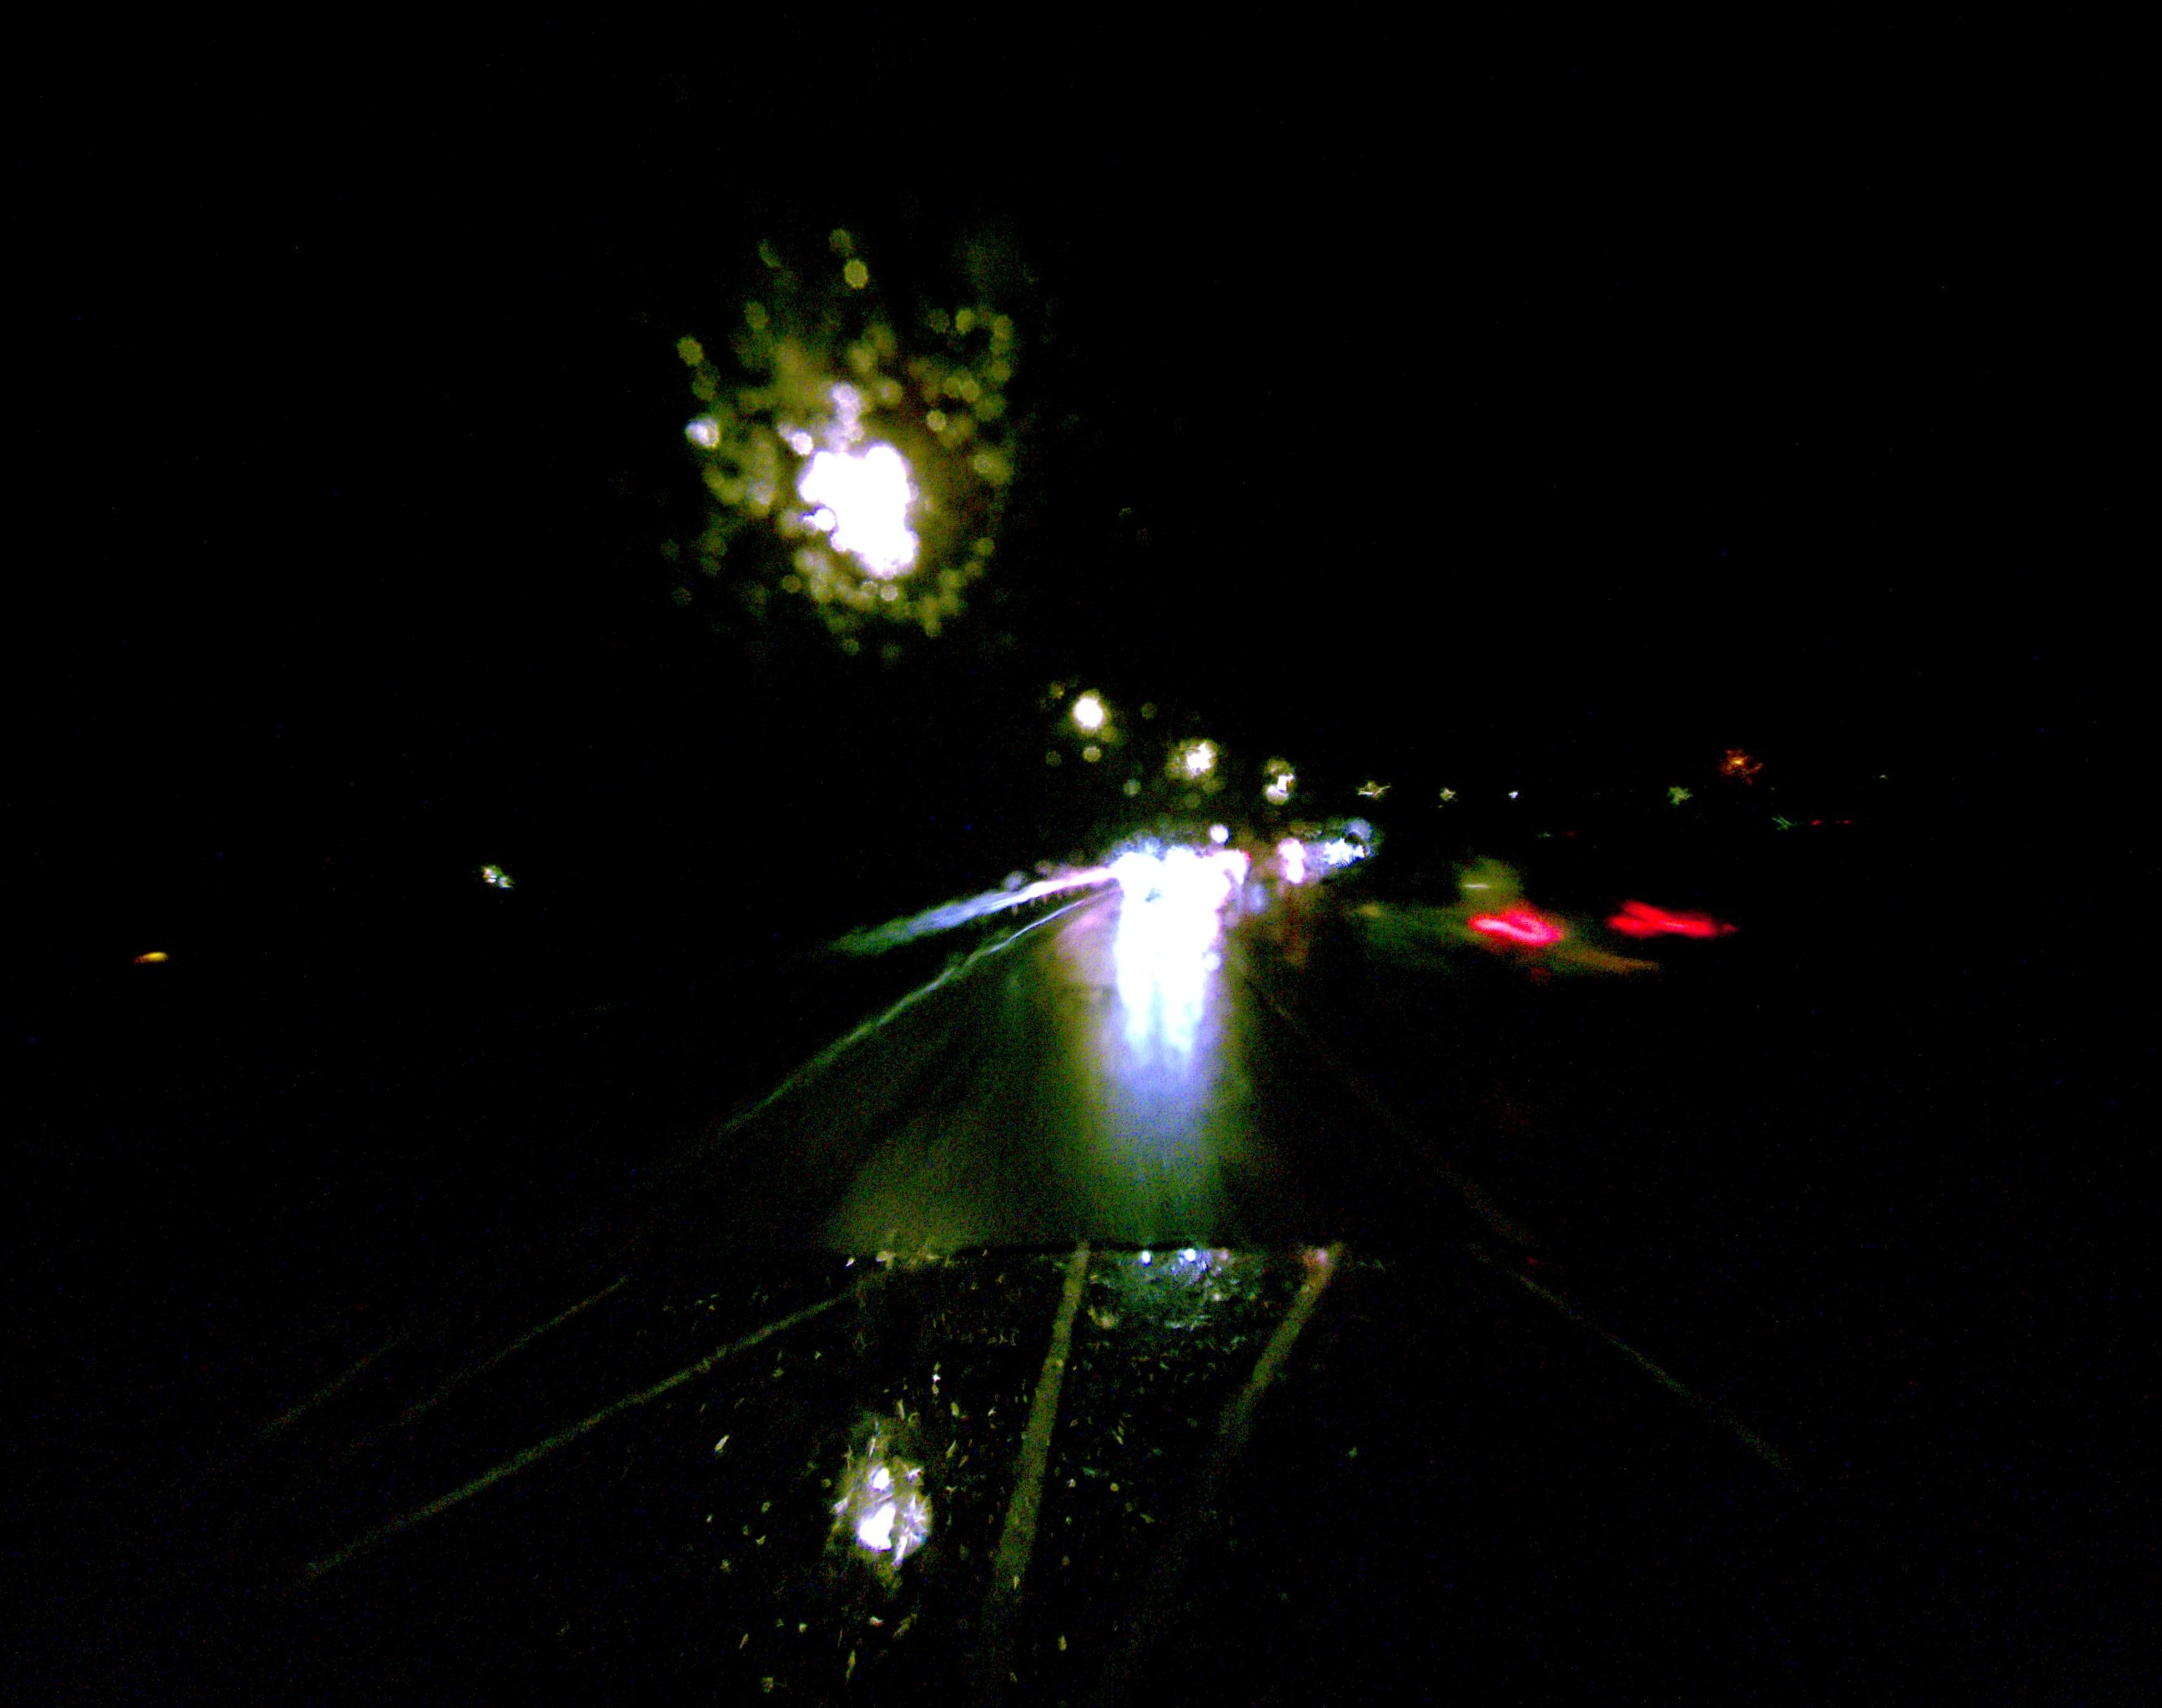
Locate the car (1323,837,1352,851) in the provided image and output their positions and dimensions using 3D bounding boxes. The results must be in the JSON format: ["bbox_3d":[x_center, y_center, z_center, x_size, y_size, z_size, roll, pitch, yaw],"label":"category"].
[{"bbox_3d":[31.073,-1.229,92.010,1.994,1.475,4.008,-2,0,38],"label":"car"}]

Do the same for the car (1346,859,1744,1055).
[{"bbox_3d":[4.227,0.808,7.755,1.733,1.396,3.863,-2,0,1],"label":"car"}]

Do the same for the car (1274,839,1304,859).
[{"bbox_3d":[20.915,-0.536,76.259,1.995,1.923,4.007,-2,0,27],"label":"car"}]

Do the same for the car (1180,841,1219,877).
[{"bbox_3d":[6.960,0.247,44.317,1.997,1.923,4.003,-2,0,12],"label":"car"}]

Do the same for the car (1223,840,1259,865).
[{"bbox_3d":[13.226,-0.168,62.770,1.995,1.923,4.006,-2,0,25],"label":"car"}]

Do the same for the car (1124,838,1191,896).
[{"bbox_3d":[2.848,0.427,27.544,1.935,1.861,4.003,-2,0,11],"label":"car"}]

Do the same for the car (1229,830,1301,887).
[{"bbox_3d":[7.191,0.144,30.181,2.453,1.976,5.498,-2,0,11],"label":"car"}]
